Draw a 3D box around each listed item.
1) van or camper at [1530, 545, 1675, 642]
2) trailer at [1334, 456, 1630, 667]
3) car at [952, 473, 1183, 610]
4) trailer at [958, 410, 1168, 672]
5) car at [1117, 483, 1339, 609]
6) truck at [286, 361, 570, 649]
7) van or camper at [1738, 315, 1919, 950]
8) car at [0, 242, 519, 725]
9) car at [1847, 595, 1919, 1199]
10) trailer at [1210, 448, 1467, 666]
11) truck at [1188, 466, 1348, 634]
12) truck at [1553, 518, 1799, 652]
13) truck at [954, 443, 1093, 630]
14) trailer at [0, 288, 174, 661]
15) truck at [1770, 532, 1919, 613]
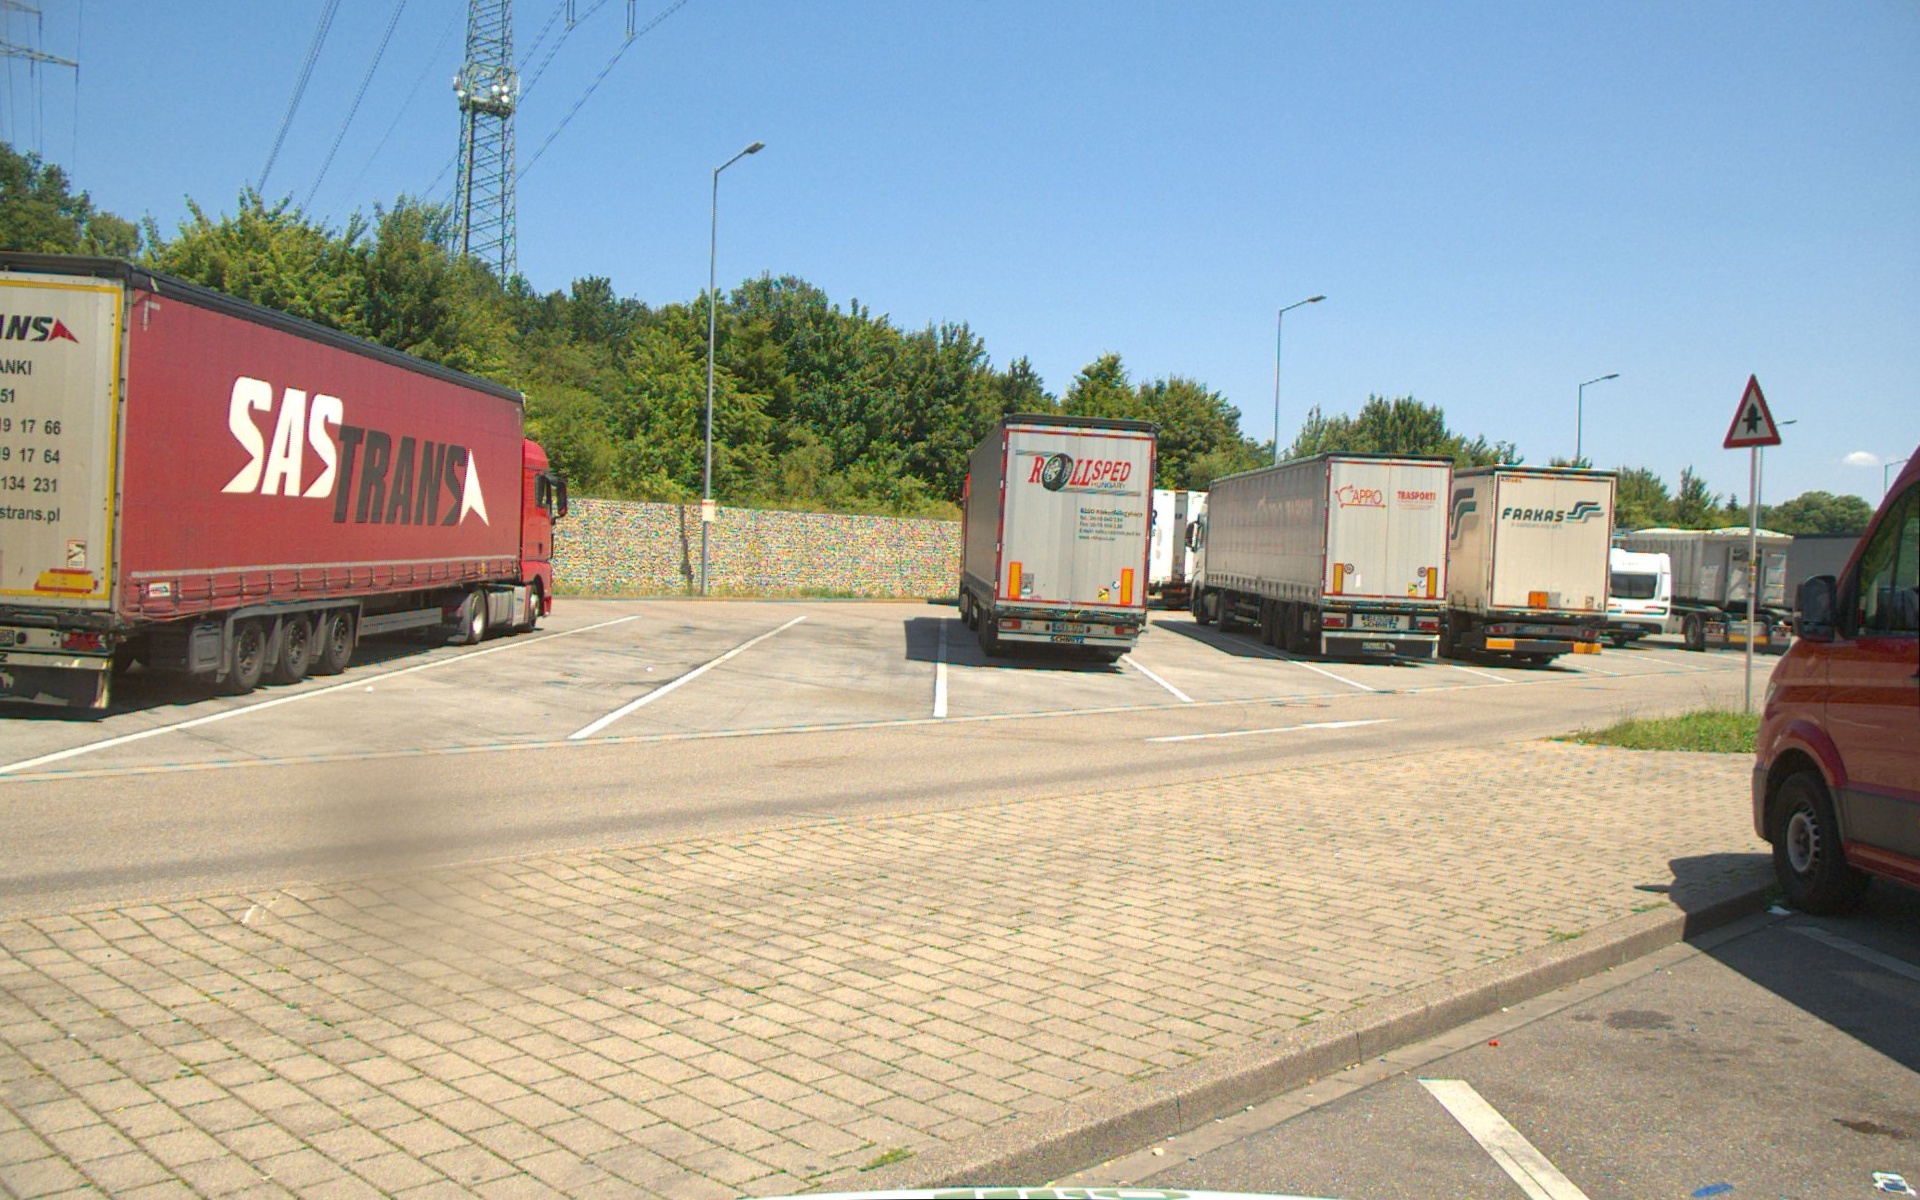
[{"bbox_3d":[18.262,-0.228,47.341,2.061,2.606,5.372,1,1,0],"label":"van or camper"},{"bbox_3d":[11.817,-1.029,39.216,2.808,4.107,12.438,2,2,-1],"label":"trailer"},{"bbox_3d":[3.673,-1.835,54.369,2.644,4.114,8.409,5,3,44],"label":"car"},{"bbox_3d":[1.648,-1.244,33.664,2.809,4.107,14.238,2,2,-2],"label":"trailer"},{"bbox_3d":[10.059,-1.895,61.052,2.644,4.261,10.146,5,3,44],"label":"car"},{"bbox_3d":[-8.704,-1.532,27.872,2.641,4.184,6.239,2,2,0],"label":"truck"},{"bbox_3d":[4.982,0.172,5.553,1.954,2.700,6.482,1,1,3],"label":"van or camper"},{"bbox_3d":[-8.683,-1.282,20.955,2.641,4.184,12.935,2,2,0],"label":"car"},{"bbox_3d":[2.532,0.794,1.106,1.584,1.509,3.762,1,1,-6],"label":"car"},{"bbox_3d":[8.240,-1.094,38.098,2.808,4.107,12.438,2,2,-1],"label":"trailer"},{"bbox_3d":[8.161,-1.390,44.729,2.808,4.107,6.956,2,2,-1],"label":"truck"},{"bbox_3d":[21.743,-0.656,51.237,2.437,3.630,11.423,2,2,-1],"label":"truck"},{"bbox_3d":[1.418,-1.571,40.744,2.809,4.107,7.026,2,2,-2],"label":"truck"},{"bbox_3d":[-12.554,-1.407,17.156,2.756,4.341,12.940,2,2,-1],"label":"trailer"},{"bbox_3d":[34.697,-1.076,63.628,2.082,2.869,9.777,1,1,-1],"label":"truck"}]
